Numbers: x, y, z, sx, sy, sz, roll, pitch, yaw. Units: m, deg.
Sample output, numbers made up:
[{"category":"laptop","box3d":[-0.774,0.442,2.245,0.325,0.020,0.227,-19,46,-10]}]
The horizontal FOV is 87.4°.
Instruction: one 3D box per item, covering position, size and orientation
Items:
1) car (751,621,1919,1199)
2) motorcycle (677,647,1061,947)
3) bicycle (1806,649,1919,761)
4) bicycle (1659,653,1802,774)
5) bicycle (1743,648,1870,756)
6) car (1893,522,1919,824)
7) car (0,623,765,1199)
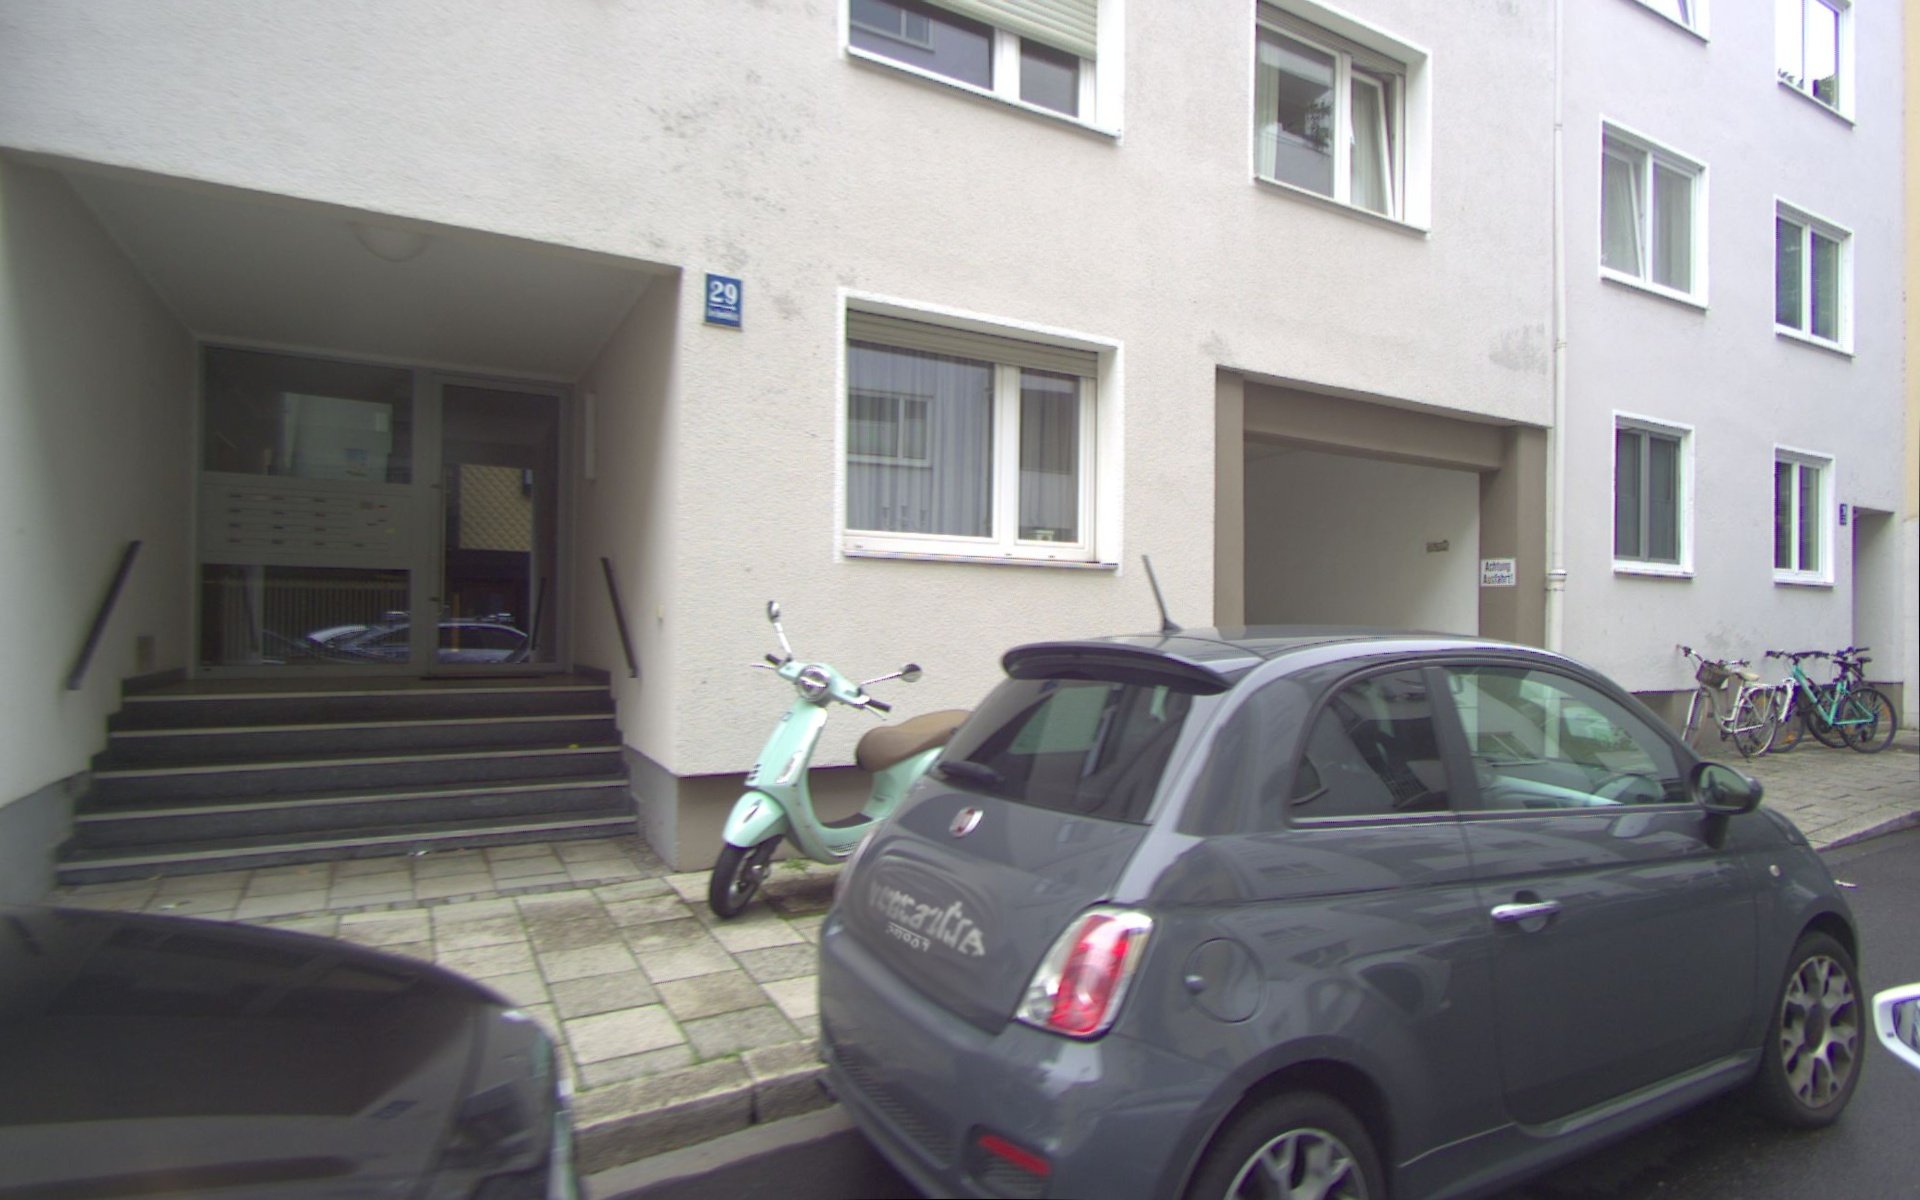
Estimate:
[{"category":"car","box3d":[1.370,0.853,3.189,3.697,1.465,1.605,1,-4,-29]},{"category":"motorcycle","box3d":[-0.392,0.853,4.960,1.840,1.219,0.595,1,-1,-36]},{"category":"bicycle","box3d":[9.896,1.106,10.905,1.847,1.112,0.461,1,-1,-29]},{"category":"bicycle","box3d":[7.856,1.114,10.220,1.847,1.112,0.461,1,-1,-29]},{"category":"bicycle","box3d":[9.436,1.100,11.173,1.847,1.112,0.461,1,-1,-29]},{"category":"car","box3d":[10.086,0.577,8.269,5.327,2.308,2.009,1,-3,-30]},{"category":"car","box3d":[-2.454,0.728,0.759,4.181,1.435,1.791,2,-2,-33]}]
